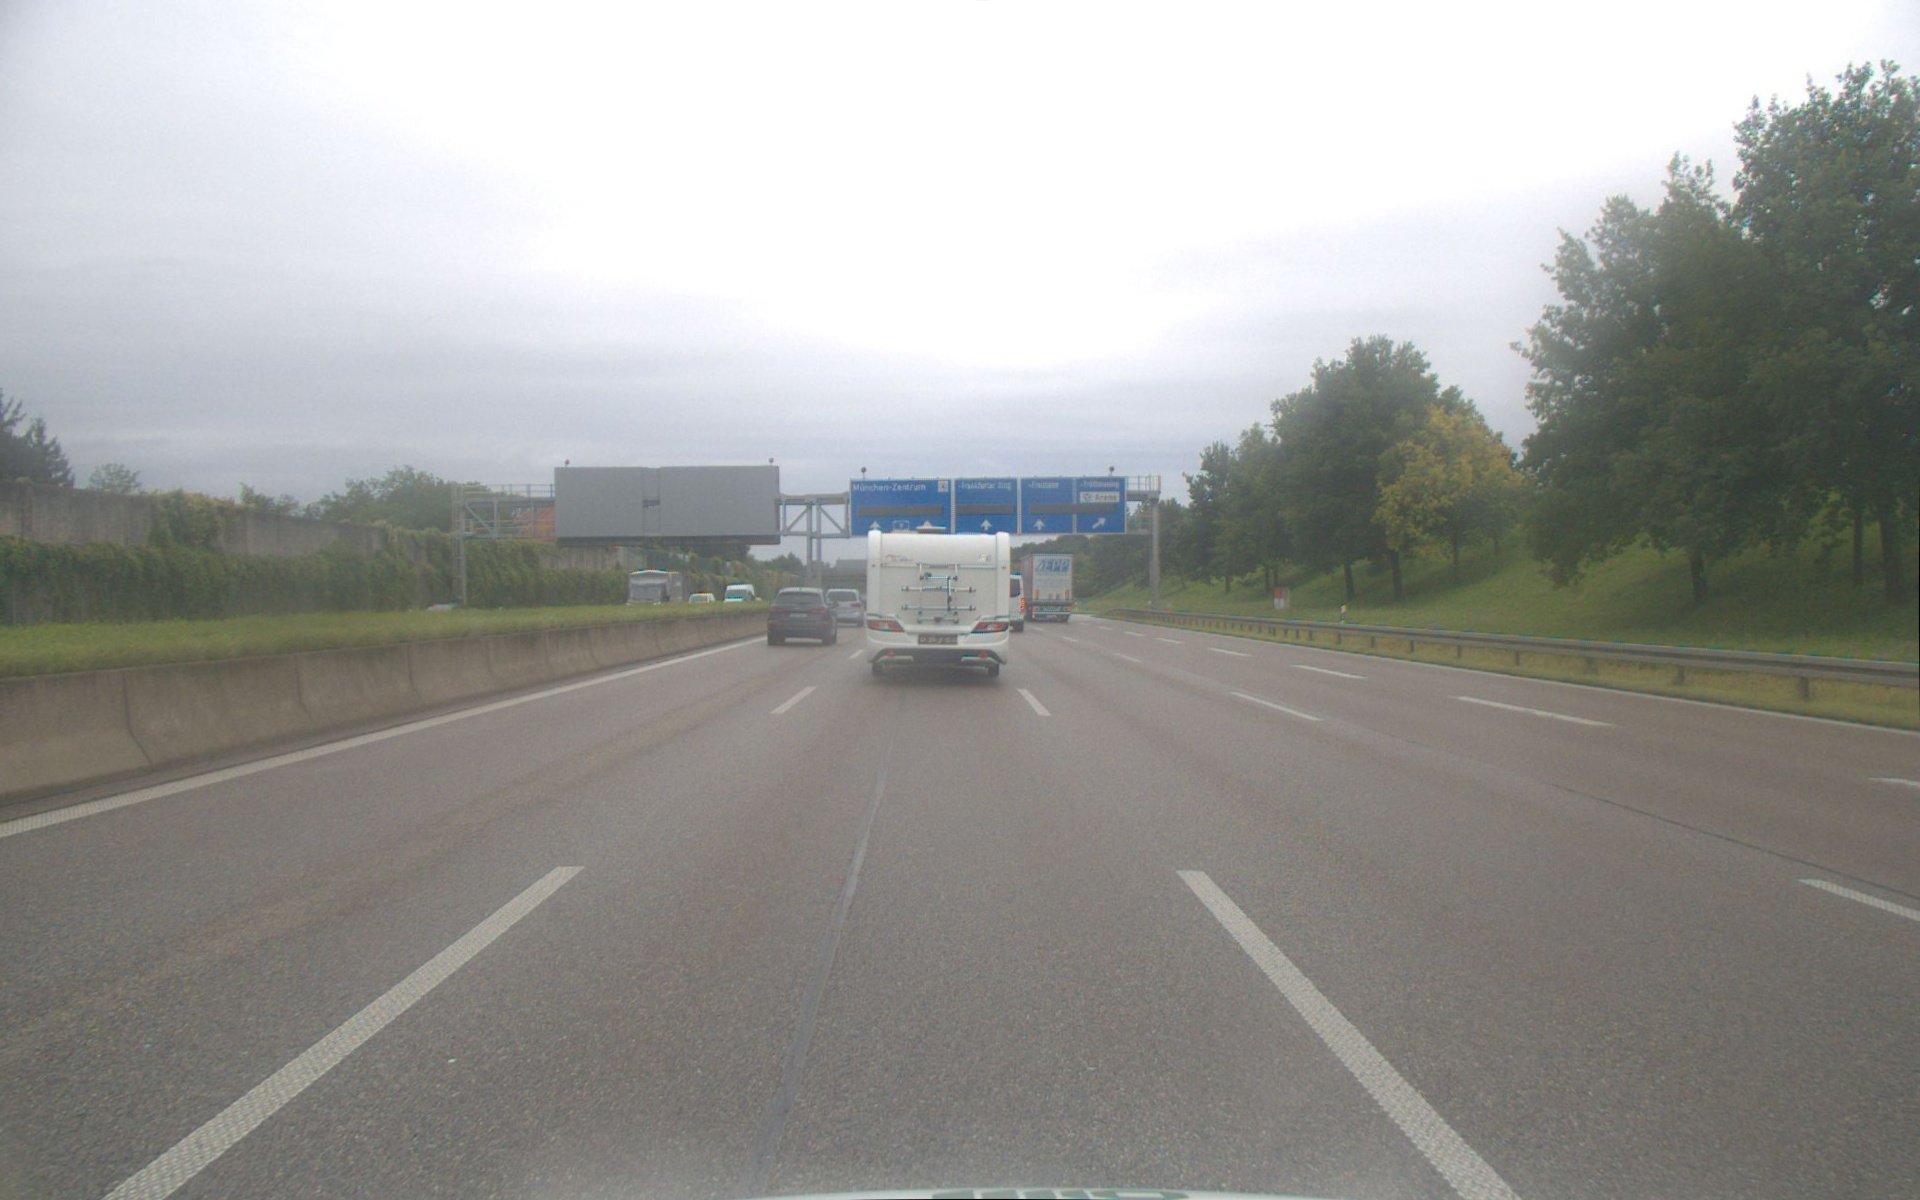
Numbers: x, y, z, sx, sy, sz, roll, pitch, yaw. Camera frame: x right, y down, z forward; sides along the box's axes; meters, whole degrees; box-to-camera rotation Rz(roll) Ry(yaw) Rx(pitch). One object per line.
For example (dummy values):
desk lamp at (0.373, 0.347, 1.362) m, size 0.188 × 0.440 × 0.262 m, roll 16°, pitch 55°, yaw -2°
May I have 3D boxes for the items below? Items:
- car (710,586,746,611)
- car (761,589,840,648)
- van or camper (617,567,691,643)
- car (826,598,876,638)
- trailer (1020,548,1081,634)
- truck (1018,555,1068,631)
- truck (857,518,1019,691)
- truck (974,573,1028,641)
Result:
car at (-19.024, -0.087, 135.754) m, size 2.083 × 1.945 × 6.532 m, roll 1°, pitch 0°, yaw -1°
car at (-4.668, 0.521, 49.089) m, size 1.953 × 1.628 × 5.122 m, roll 1°, pitch 0°, yaw -2°
van or camper at (-17.025, 0.287, 92.543) m, size 2.653 × 4.017 × 8.400 m, roll 1°, pitch 0°, yaw -1°
car at (-4.992, 0.828, 76.453) m, size 2.085 × 1.736 × 4.111 m, roll 2°, pitch 0°, yaw -2°
trailer at (5.526, -0.483, 103.036) m, size 3.036 × 5.008 × 11.789 m, roll 1°, pitch 0°, yaw 0°
truck at (5.522, -0.444, 110.484) m, size 2.986 × 4.924 × 5.850 m, roll 1°, pitch 0°, yaw 0°
truck at (-0.427, 0.079, 29.717) m, size 2.607 × 2.790 × 5.076 m, roll 1°, pitch 0°, yaw -2°
truck at (1.728, 0.294, 71.999) m, size 2.012 × 2.818 × 5.547 m, roll 1°, pitch 0°, yaw -2°
